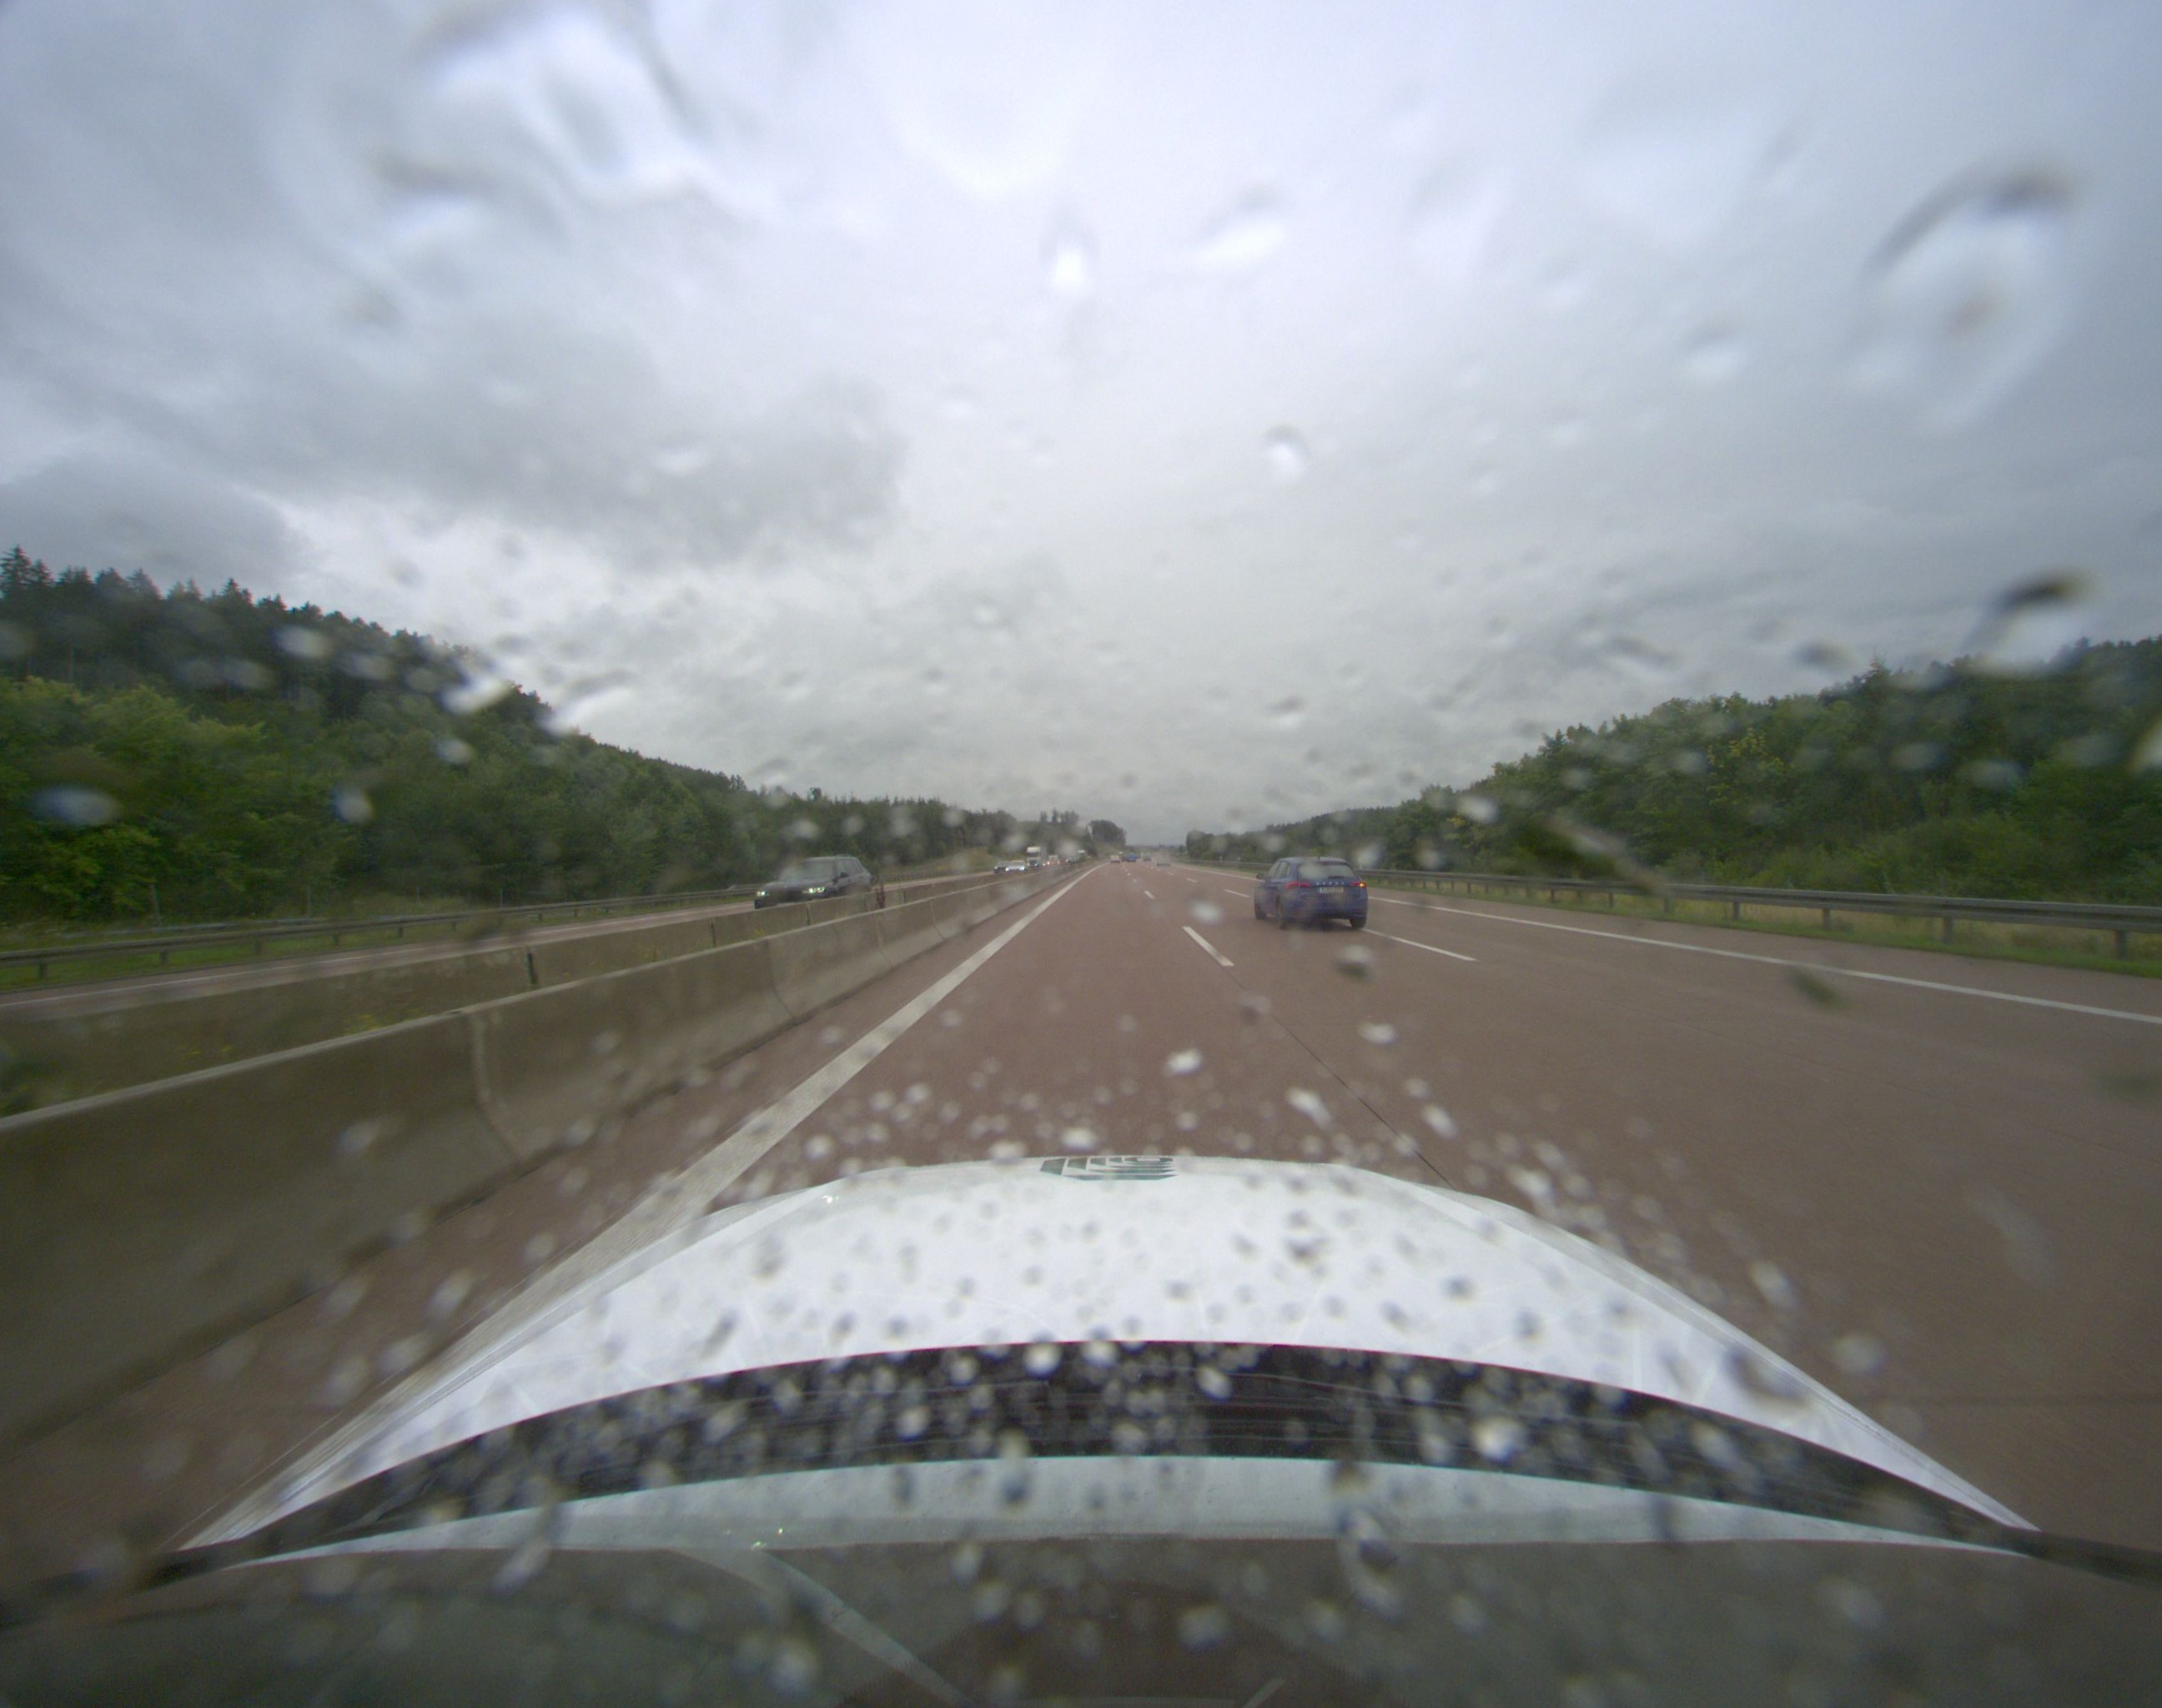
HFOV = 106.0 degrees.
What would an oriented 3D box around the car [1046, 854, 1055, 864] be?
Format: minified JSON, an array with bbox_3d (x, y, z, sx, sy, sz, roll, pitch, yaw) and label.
[{"bbox_3d":[-7.463,1.239,198.330,1.751,2.153,4.430,-3,0,1],"label":"car"}]

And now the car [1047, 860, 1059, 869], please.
[{"bbox_3d":[-5.440,2.124,161.194,1.986,1.545,4.282,-3,-1,2],"label":"car"}]

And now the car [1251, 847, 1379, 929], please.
[{"bbox_3d":[4.929,0.701,17.751,1.764,1.564,4.149,0,-1,3],"label":"car"}]

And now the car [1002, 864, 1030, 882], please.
[{"bbox_3d":[-5.900,1.764,74.387,1.986,1.560,4.948,0,-1,2],"label":"car"}]

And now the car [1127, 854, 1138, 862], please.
[{"bbox_3d":[12.069,0.853,189.802,2.314,1.750,4.876,0,-1,1],"label":"car"}]

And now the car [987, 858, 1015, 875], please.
[{"bbox_3d":[-9.002,1.419,92.045,2.271,1.861,5.731,0,-1,2],"label":"car"}]

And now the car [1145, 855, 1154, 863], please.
[{"bbox_3d":[17.157,1.200,203.868,1.987,2.014,3.999,0,-1,0],"label":"car"}]

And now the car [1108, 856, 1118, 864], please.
[{"bbox_3d":[6.581,1.259,167.344,1.867,1.444,4.877,0,-1,1],"label":"car"}]

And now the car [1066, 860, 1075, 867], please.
[{"bbox_3d":[-2.588,2.242,201.856,1.685,1.557,5.680,-3,0,3],"label":"car"}]

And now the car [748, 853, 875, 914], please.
[{"bbox_3d":[-7.491,0.750,23.213,1.858,1.551,4.809,0,0,2],"label":"car"}]

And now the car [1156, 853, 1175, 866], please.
[{"bbox_3d":[12.134,0.860,117.376,2.314,1.750,4.876,0,-1,1],"label":"car"}]

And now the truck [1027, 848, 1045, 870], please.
[{"bbox_3d":[-8.938,0.994,162.006,2.758,4.176,6.004,-3,-1,2],"label":"truck"}]
